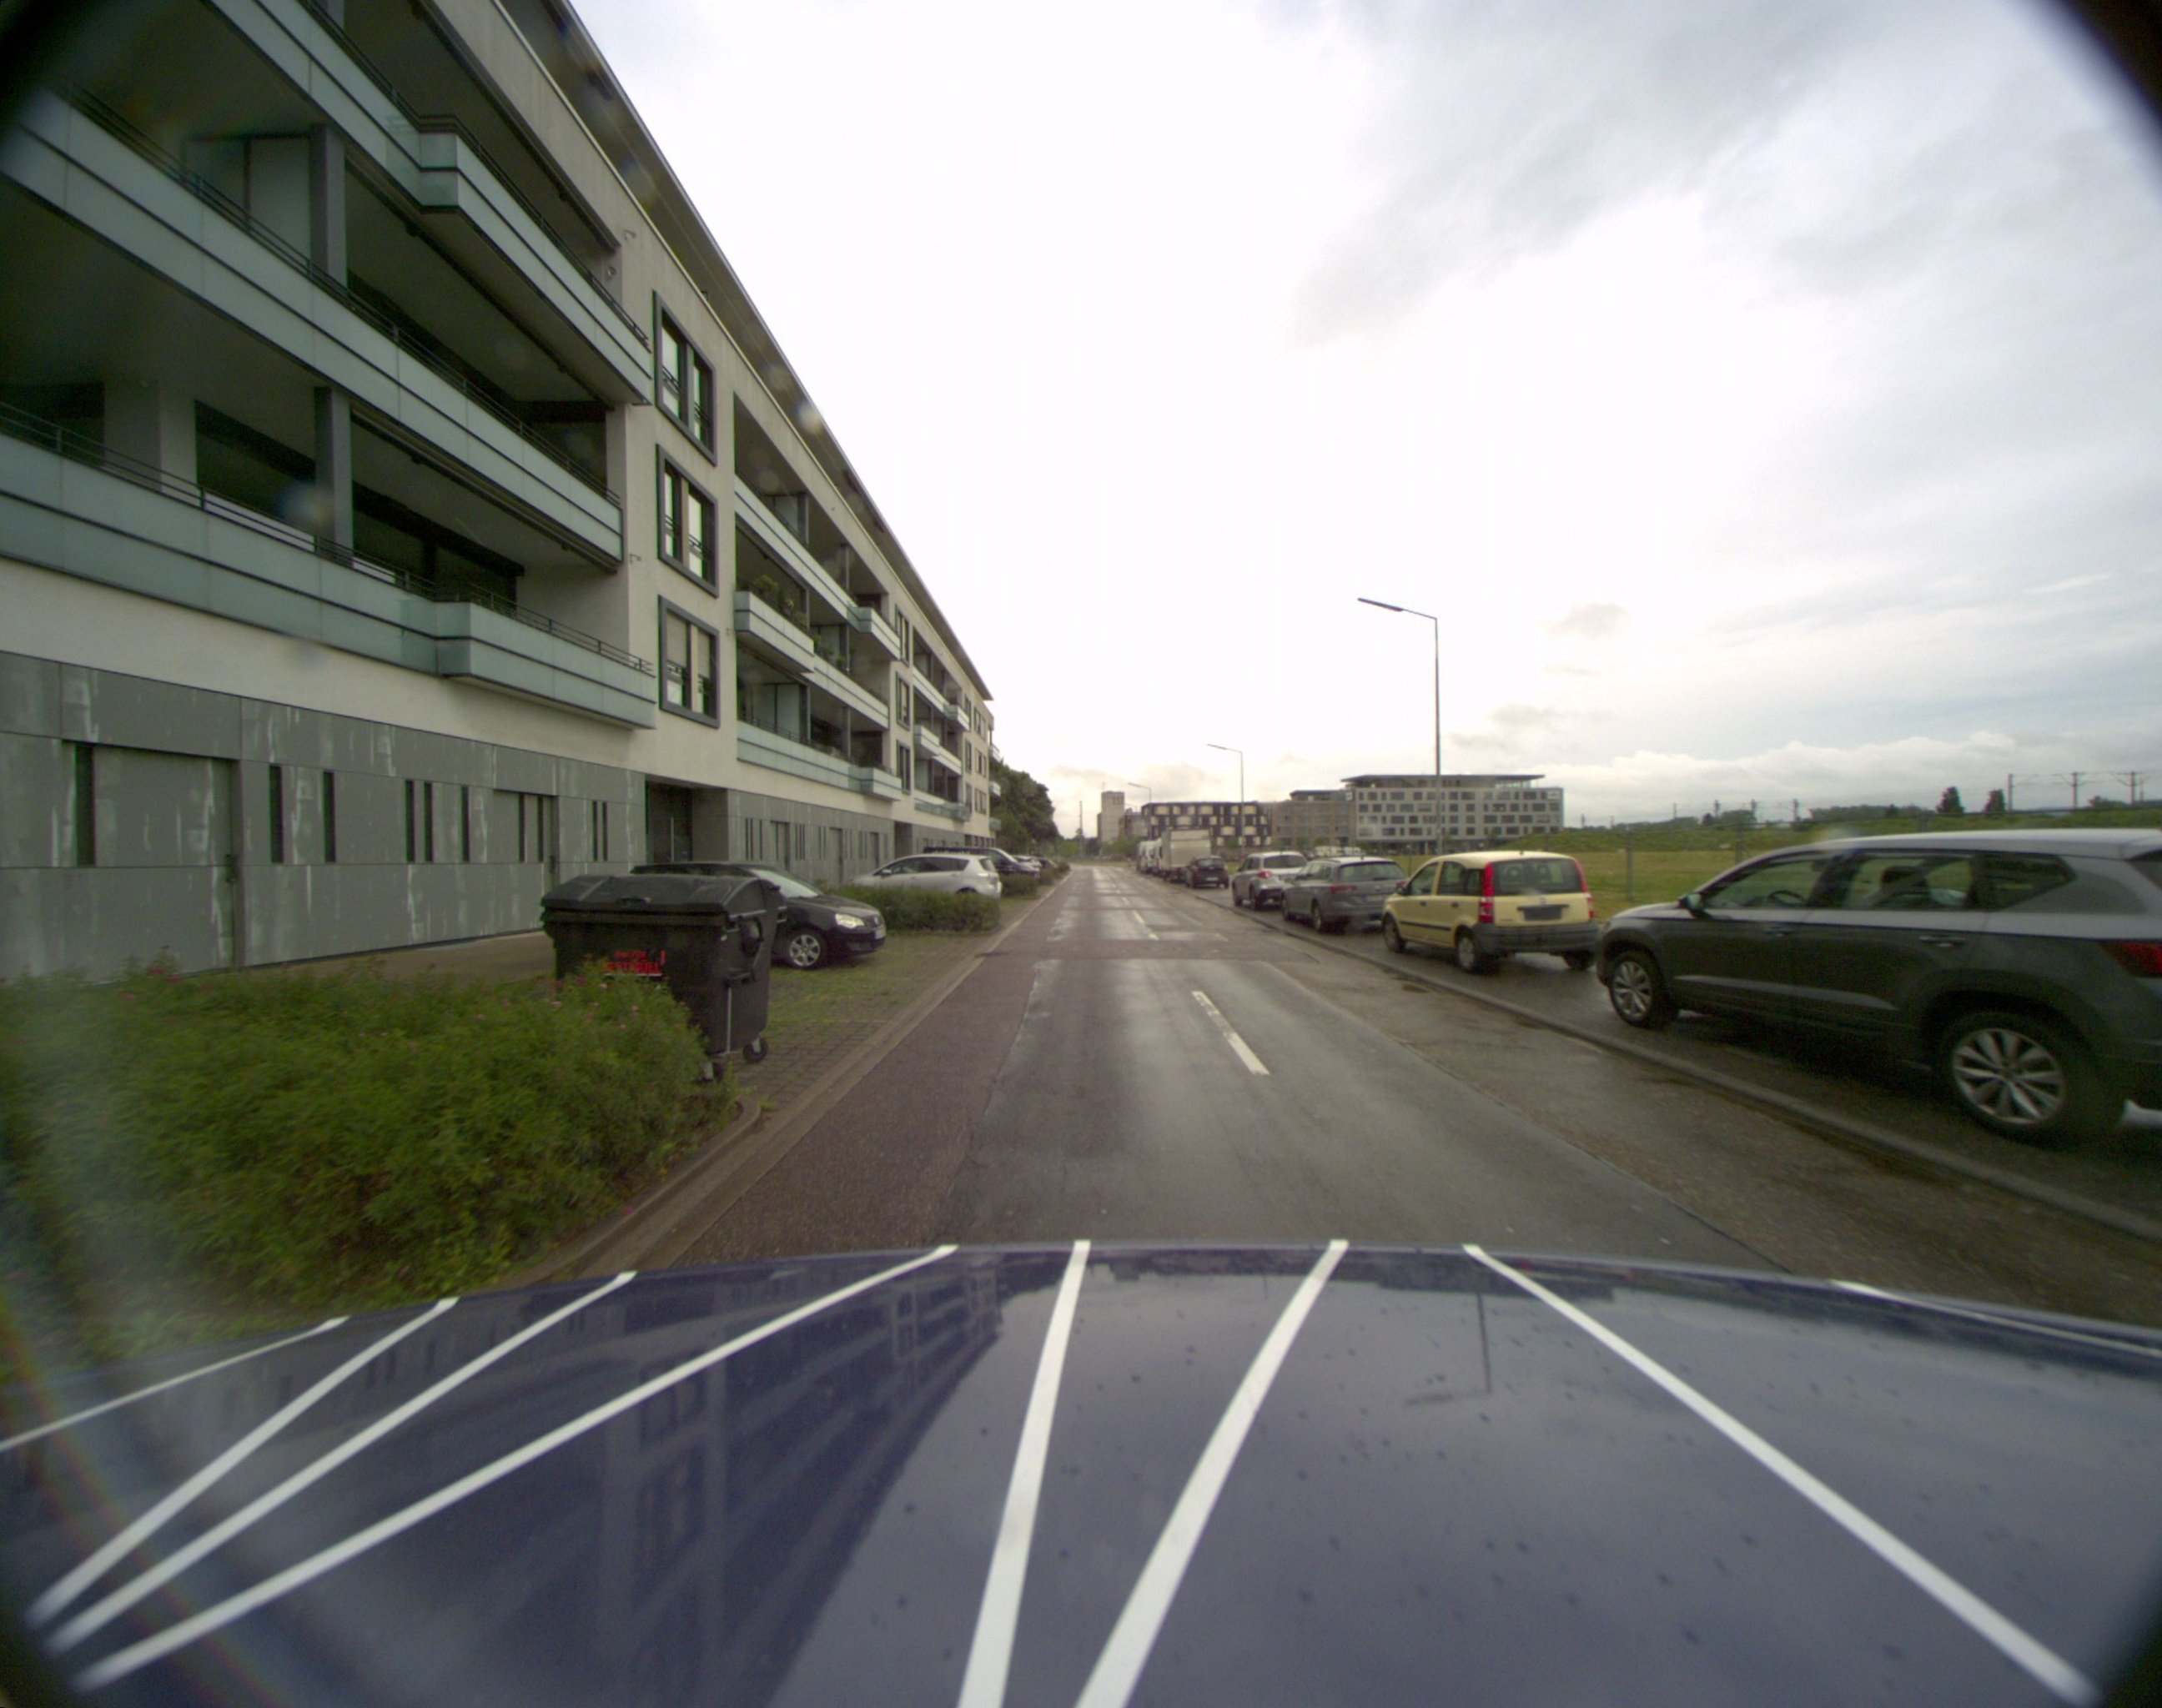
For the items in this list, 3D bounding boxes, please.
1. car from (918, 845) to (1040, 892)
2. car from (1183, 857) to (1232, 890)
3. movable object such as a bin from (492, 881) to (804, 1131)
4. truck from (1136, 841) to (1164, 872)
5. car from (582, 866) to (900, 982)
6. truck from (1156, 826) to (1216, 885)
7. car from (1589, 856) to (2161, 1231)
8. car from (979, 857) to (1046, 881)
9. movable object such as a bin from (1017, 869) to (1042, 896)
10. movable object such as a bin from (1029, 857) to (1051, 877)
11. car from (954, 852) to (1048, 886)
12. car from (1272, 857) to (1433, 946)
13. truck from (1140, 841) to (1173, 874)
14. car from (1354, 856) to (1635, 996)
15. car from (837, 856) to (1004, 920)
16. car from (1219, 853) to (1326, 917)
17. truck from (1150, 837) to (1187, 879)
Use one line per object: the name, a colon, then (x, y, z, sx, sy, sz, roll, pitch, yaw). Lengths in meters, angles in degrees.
car: (-4.429, 0.611, 33.602, 5.062, 1.917, 1.982, 1, 0, 1)
car: (5.925, 0.897, 36.080, 1.676, 1.454, 4.157, -1, 0, 1)
movable object such as a bin: (-2.946, 0.980, 5.374, 1.499, 1.484, 1.156, 2, 0, 1)
truck: (6.429, 0.204, 71.146, 2.180, 2.730, 5.290, -1, 0, 1)
car: (-4.826, 0.952, 11.171, 3.854, 1.482, 1.763, 1, 0, 2)
truck: (5.927, 0.102, 43.832, 2.442, 3.050, 6.700, -2, 0, 0)
car: (5.543, 0.824, 4.928, 1.757, 1.581, 4.133, -1, 0, 1)
car: (-4.343, 0.928, 48.482, 4.100, 1.469, 1.711, -1, 0, 0)
movable object such as a bin: (-2.043, 1.128, 30.217, 0.815, 1.040, 0.541, -1, 0, 39)
movable object such as a bin: (-2.789, 0.902, 51.989, 1.352, 1.329, 0.977, -2, 0, 0)
car: (-4.054, 0.745, 38.893, 4.428, 1.592, 2.083, 1, 0, 6)
car: (5.617, 0.893, 16.423, 1.842, 1.519, 4.670, -3, 0, 1)
truck: (6.282, 0.269, 64.002, 2.180, 2.591, 6.132, -1, 0, 1)
car: (5.588, 0.850, 10.983, 1.730, 1.566, 4.210, -1, 0, -1)
car: (-4.320, 0.902, 20.873, 4.218, 1.634, 1.686, 0, 1, 0)
car: (5.600, 0.850, 22.880, 1.857, 1.598, 4.989, -4, 0, 0)
truck: (6.208, 0.293, 54.665, 2.045, 2.750, 6.738, -2, 0, 3)
